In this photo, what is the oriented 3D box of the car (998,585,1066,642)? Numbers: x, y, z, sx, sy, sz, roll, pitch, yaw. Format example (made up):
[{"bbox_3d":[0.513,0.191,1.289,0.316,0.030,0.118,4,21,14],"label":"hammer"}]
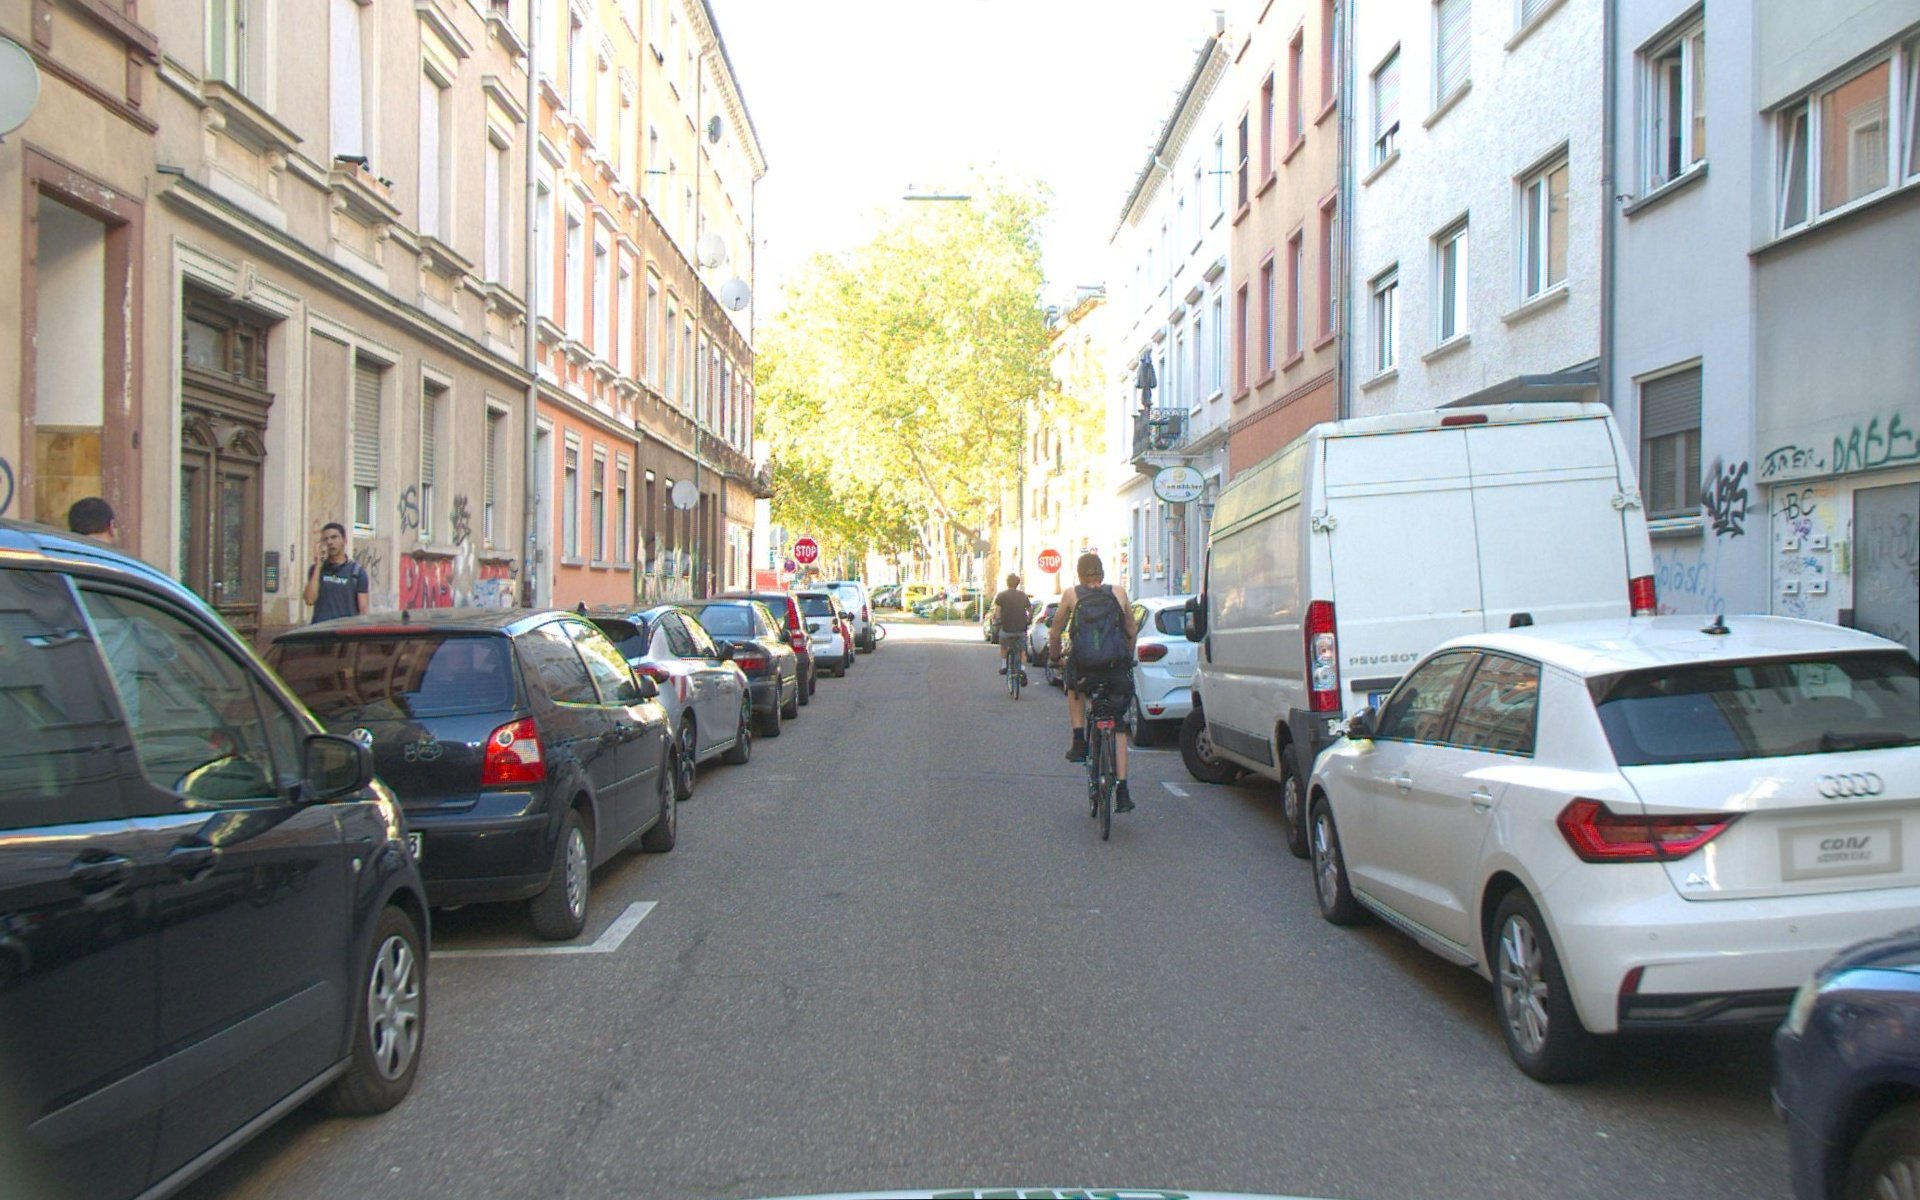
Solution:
[{"bbox_3d":[2.340,0.422,54.855,1.855,1.800,3.998,0,0,-3],"label":"car"}]

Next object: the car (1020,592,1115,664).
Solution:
[{"bbox_3d":[2.343,0.571,36.874,1.676,1.496,3.998,0,0,-3],"label":"car"}]

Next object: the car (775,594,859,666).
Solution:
[{"bbox_3d":[-2.946,0.586,34.700,1.521,1.424,3.667,0,0,-1],"label":"car"}]

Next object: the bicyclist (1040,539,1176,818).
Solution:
[{"bbox_3d":[0.944,0.484,10.800,0.725,1.708,1.116,2,0,-1],"label":"bicyclist"}]

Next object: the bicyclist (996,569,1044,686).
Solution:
[{"bbox_3d":[0.878,0.401,24.367,0.656,1.687,0.877,0,0,-1],"label":"bicyclist"}]

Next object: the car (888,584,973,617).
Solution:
[{"bbox_3d":[-1.583,0.014,87.881,4.382,1.725,1.864,0,0,-6],"label":"car"}]

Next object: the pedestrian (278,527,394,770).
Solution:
[{"bbox_3d":[-5.033,0.381,13.377,0.598,1.890,0.753,2,0,-2],"label":"pedestrian"}]

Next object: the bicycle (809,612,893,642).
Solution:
[{"bbox_3d":[-3.459,0.853,52.627,2.662,0.907,0.618,0,0,-4],"label":"bicycle"}]

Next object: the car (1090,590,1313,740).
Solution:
[{"bbox_3d":[2.590,0.638,18.624,1.697,1.496,4.018,0,0,-4],"label":"car"}]

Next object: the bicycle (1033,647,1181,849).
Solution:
[{"bbox_3d":[0.925,0.913,10.906,0.725,1.120,2.041,2,0,-1],"label":"bicycle"}]

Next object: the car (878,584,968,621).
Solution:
[{"bbox_3d":[-1.851,0.127,82.487,4.382,1.790,1.864,0,0,-6],"label":"car"}]

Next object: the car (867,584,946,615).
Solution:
[{"bbox_3d":[-3.077,-0.037,94.188,4.382,1.725,1.864,0,0,-6],"label":"car"}]

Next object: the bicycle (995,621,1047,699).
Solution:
[{"bbox_3d":[0.887,0.867,24.417,0.650,1.055,1.958,0,0,-1],"label":"bicycle"}]

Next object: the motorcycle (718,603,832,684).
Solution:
[{"bbox_3d":[-3.043,0.697,27.182,1.766,1.278,0.707,0,0,-15],"label":"motorcycle"}]

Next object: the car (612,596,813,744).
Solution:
[{"bbox_3d":[-2.648,0.687,18.606,1.671,1.438,4.301,0,0,-1],"label":"car"}]

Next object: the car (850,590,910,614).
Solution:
[{"bbox_3d":[-5.964,0.154,123.170,4.382,1.725,1.864,0,0,-6],"label":"car"}]

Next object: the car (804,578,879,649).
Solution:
[{"bbox_3d":[-3.045,0.328,43.136,1.751,1.767,3.875,0,0,-1],"label":"car"}]

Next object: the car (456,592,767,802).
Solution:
[{"bbox_3d":[-2.675,0.673,13.546,1.639,1.455,3.889,0,0,1],"label":"car"}]

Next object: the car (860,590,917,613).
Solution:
[{"bbox_3d":[-5.644,0.113,129.914,4.382,1.725,1.864,0,0,-6],"label":"car"}]

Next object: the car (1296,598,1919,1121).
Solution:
[{"bbox_3d":[2.653,0.734,6.652,1.690,1.454,3.831,0,0,-2],"label":"car"}]

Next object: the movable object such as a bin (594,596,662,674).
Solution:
[{"bbox_3d":[-5.241,0.552,26.141,0.817,1.146,0.716,-5,0,1],"label":"movable object such as a bin"}]

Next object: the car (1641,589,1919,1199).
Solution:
[{"bbox_3d":[2.903,0.744,1.782,1.779,1.503,4.597,-3,1,-10],"label":"car"}]

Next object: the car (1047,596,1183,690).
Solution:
[{"bbox_3d":[2.388,0.628,26.325,1.624,1.361,3.998,0,0,-3],"label":"car"}]

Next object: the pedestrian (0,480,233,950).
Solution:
[{"bbox_3d":[-3.579,0.456,6.962,0.637,1.849,0.754,2,0,-1],"label":"pedestrian"}]

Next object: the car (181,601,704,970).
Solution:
[{"bbox_3d":[-2.395,0.755,8.575,1.559,1.465,3.653,0,0,0],"label":"car"}]

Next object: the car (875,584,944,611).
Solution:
[{"bbox_3d":[-3.320,-0.165,107.428,4.382,1.725,1.864,0,0,-6],"label":"car"}]

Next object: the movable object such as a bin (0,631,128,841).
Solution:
[{"bbox_3d":[-5.262,0.733,9.226,0.773,1.042,0.757,4,0,1],"label":"movable object such as a bin"}]

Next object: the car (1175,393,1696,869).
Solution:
[{"bbox_3d":[2.997,0.152,12.079,2.159,2.595,6.037,0,0,1],"label":"car"}]

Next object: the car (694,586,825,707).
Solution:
[{"bbox_3d":[-2.790,0.602,23.563,1.573,1.556,3.377,-1,0,-3],"label":"car"}]

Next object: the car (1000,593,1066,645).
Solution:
[{"bbox_3d":[2.163,0.540,49.553,1.653,1.497,3.573,0,0,-3],"label":"car"}]

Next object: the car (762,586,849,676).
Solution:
[{"bbox_3d":[-2.845,0.540,30.937,1.514,1.578,3.462,0,0,-4],"label":"car"}]

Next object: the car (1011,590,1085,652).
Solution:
[{"bbox_3d":[2.297,0.520,43.981,1.619,1.557,3.573,0,0,-3],"label":"car"}]

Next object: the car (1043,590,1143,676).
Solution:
[{"bbox_3d":[2.470,0.584,31.419,1.559,1.518,3.875,0,0,-1],"label":"car"}]

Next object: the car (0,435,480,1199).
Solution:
[{"bbox_3d":[-2.497,0.618,3.594,1.764,1.728,3.999,-2,0,-1],"label":"car"}]
